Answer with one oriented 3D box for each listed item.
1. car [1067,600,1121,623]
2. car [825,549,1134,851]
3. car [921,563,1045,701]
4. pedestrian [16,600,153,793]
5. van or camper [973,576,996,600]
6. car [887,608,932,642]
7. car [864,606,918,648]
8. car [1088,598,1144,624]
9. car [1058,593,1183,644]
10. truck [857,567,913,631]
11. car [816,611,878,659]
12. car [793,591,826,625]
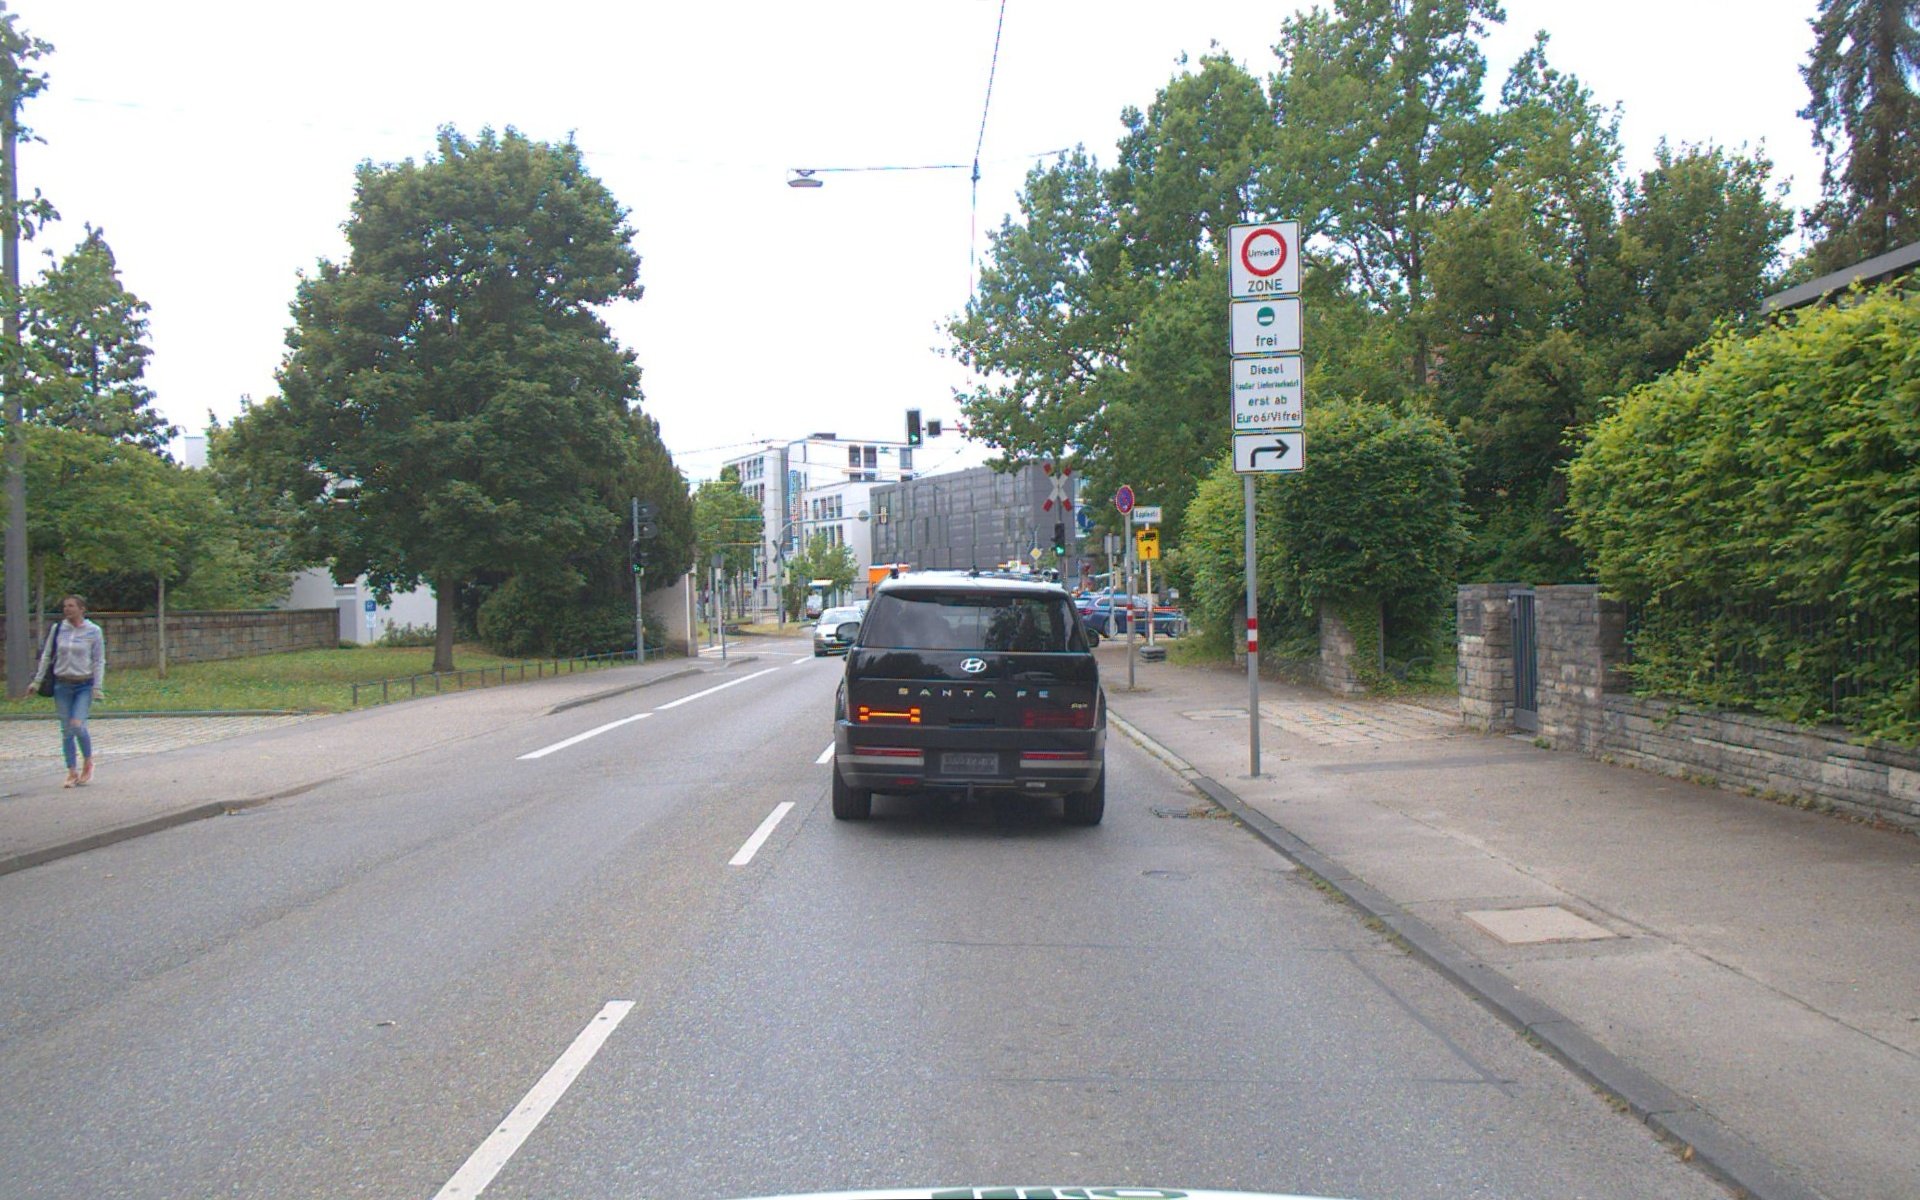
[{"bbox_3d":[9.861,0.835,121.722,3.903,1.612,1.890,-1,0,3],"label":"car"},{"bbox_3d":[0.119,0.640,12.257,1.858,1.807,3.993,2,-1,0],"label":"car"},{"bbox_3d":[0.351,0.513,27.571,1.858,2.077,3.993,2,-1,0],"label":"car"},{"bbox_3d":[-8.349,0.897,15.812,0.750,1.779,0.905,0,-1,7],"label":"pedestrian"},{"bbox_3d":[2.175,-1.023,147.802,1.760,2.033,3.821,2,-1,-4],"label":"van or camper"},{"bbox_3d":[-2.585,1.254,84.180,1.848,1.667,3.891,-1,0,-8],"label":"car"},{"bbox_3d":[-2.904,1.124,69.035,1.848,1.667,3.891,-1,0,-8],"label":"car"},{"bbox_3d":[10.300,0.743,109.553,3.613,1.612,1.688,-1,0,3],"label":"car"},{"bbox_3d":[5.742,0.649,58.974,4.244,1.689,1.852,-1,0,-34],"label":"car"},{"bbox_3d":[-4.950,-0.026,107.617,3.047,3.926,9.608,-1,0,-6],"label":"truck"},{"bbox_3d":[-3.654,1.090,52.920,1.847,1.445,3.995,-1,0,-6],"label":"car"},{"bbox_3d":[-10.851,0.545,119.325,2.288,2.356,4.951,-1,0,-6],"label":"car"}]
